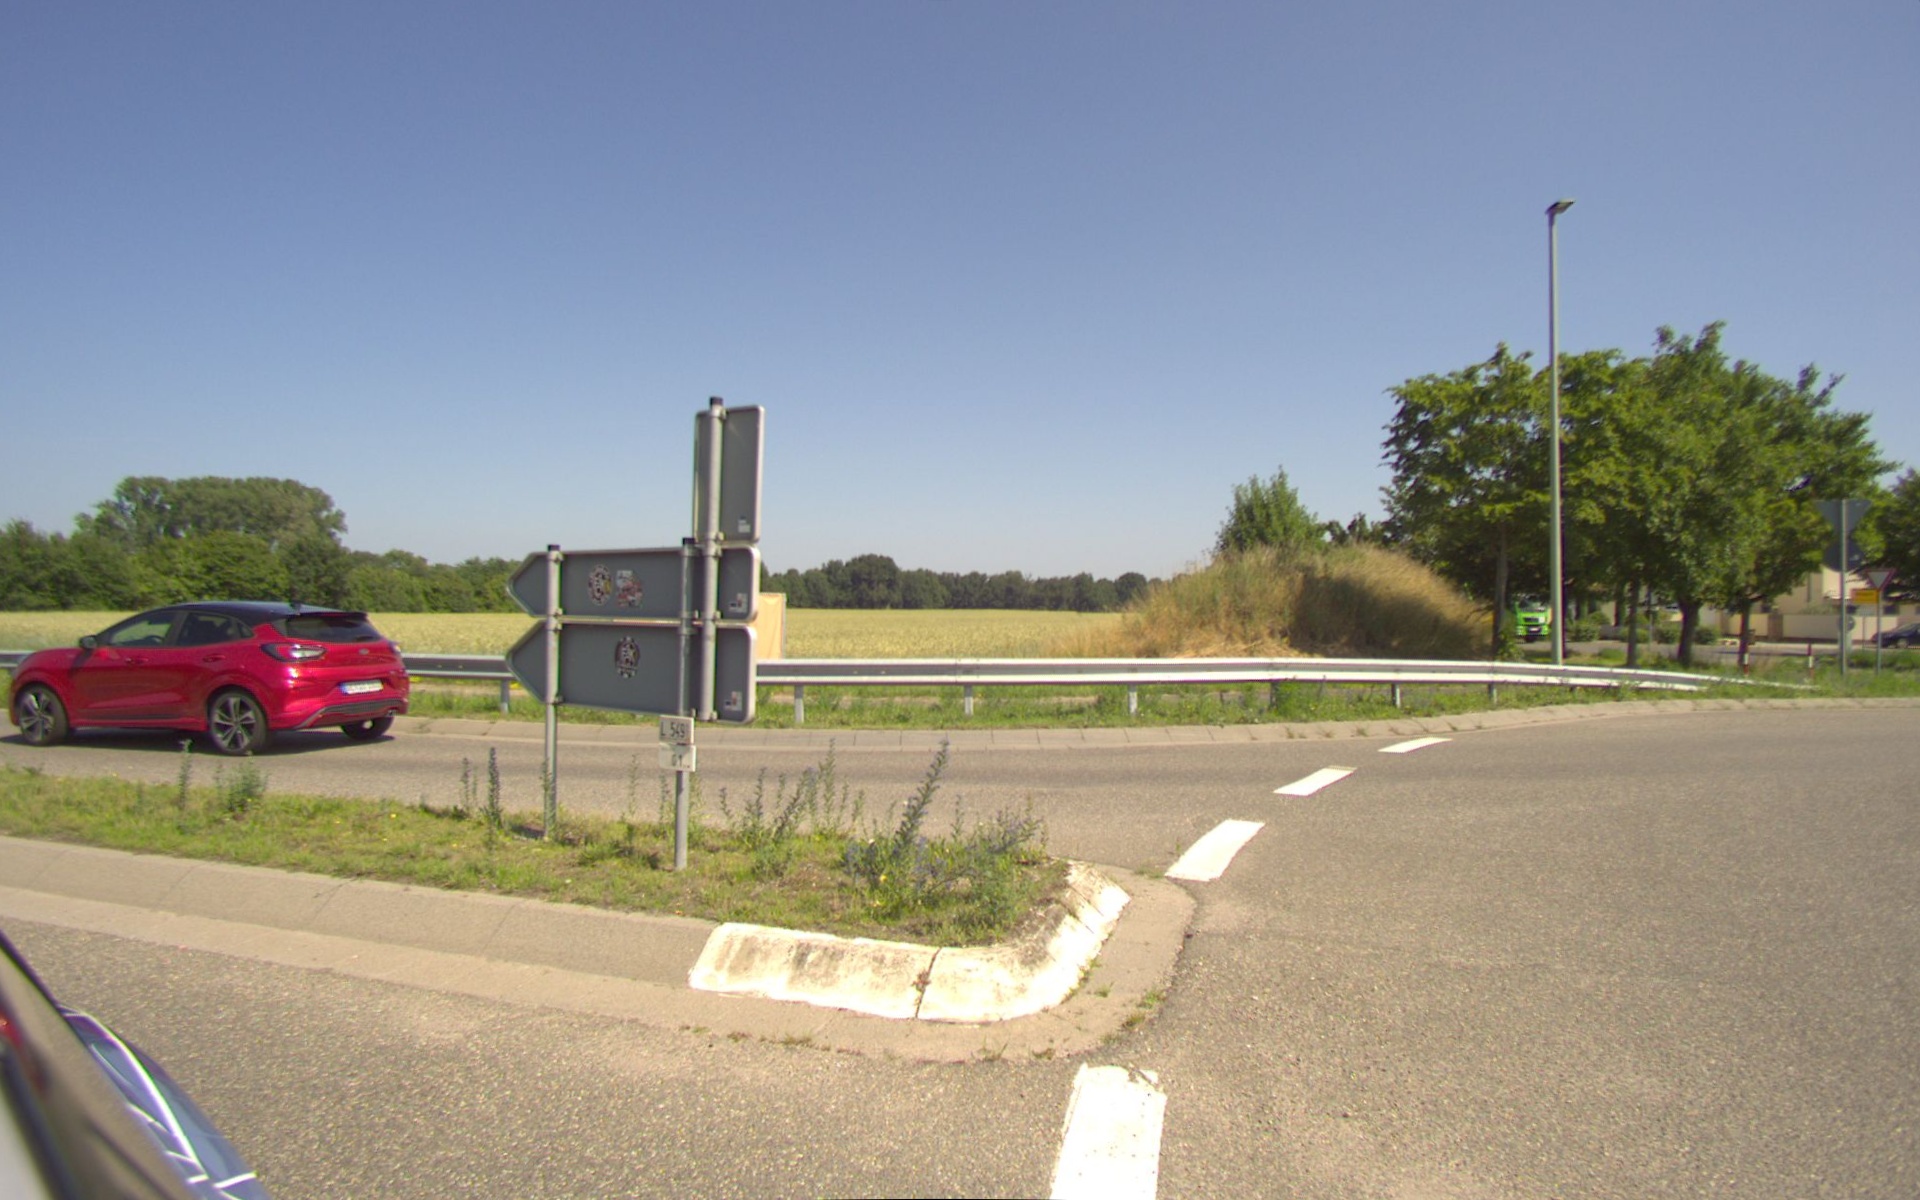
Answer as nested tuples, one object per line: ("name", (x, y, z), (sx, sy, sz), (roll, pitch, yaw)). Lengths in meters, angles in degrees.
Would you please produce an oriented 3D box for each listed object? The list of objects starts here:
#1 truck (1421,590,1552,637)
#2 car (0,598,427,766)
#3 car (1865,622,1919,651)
("truck", (31.876, 0.724, 61.714), (2.479, 2.669, 7.710), (0, 1, -16))
("car", (-8.005, 0.789, 10.856), (3.791, 1.534, 1.743), (1, -1, 12))
("car", (51.580, 1.958, 54.630), (3.693, 1.515, 1.604), (0, 1, 13))
